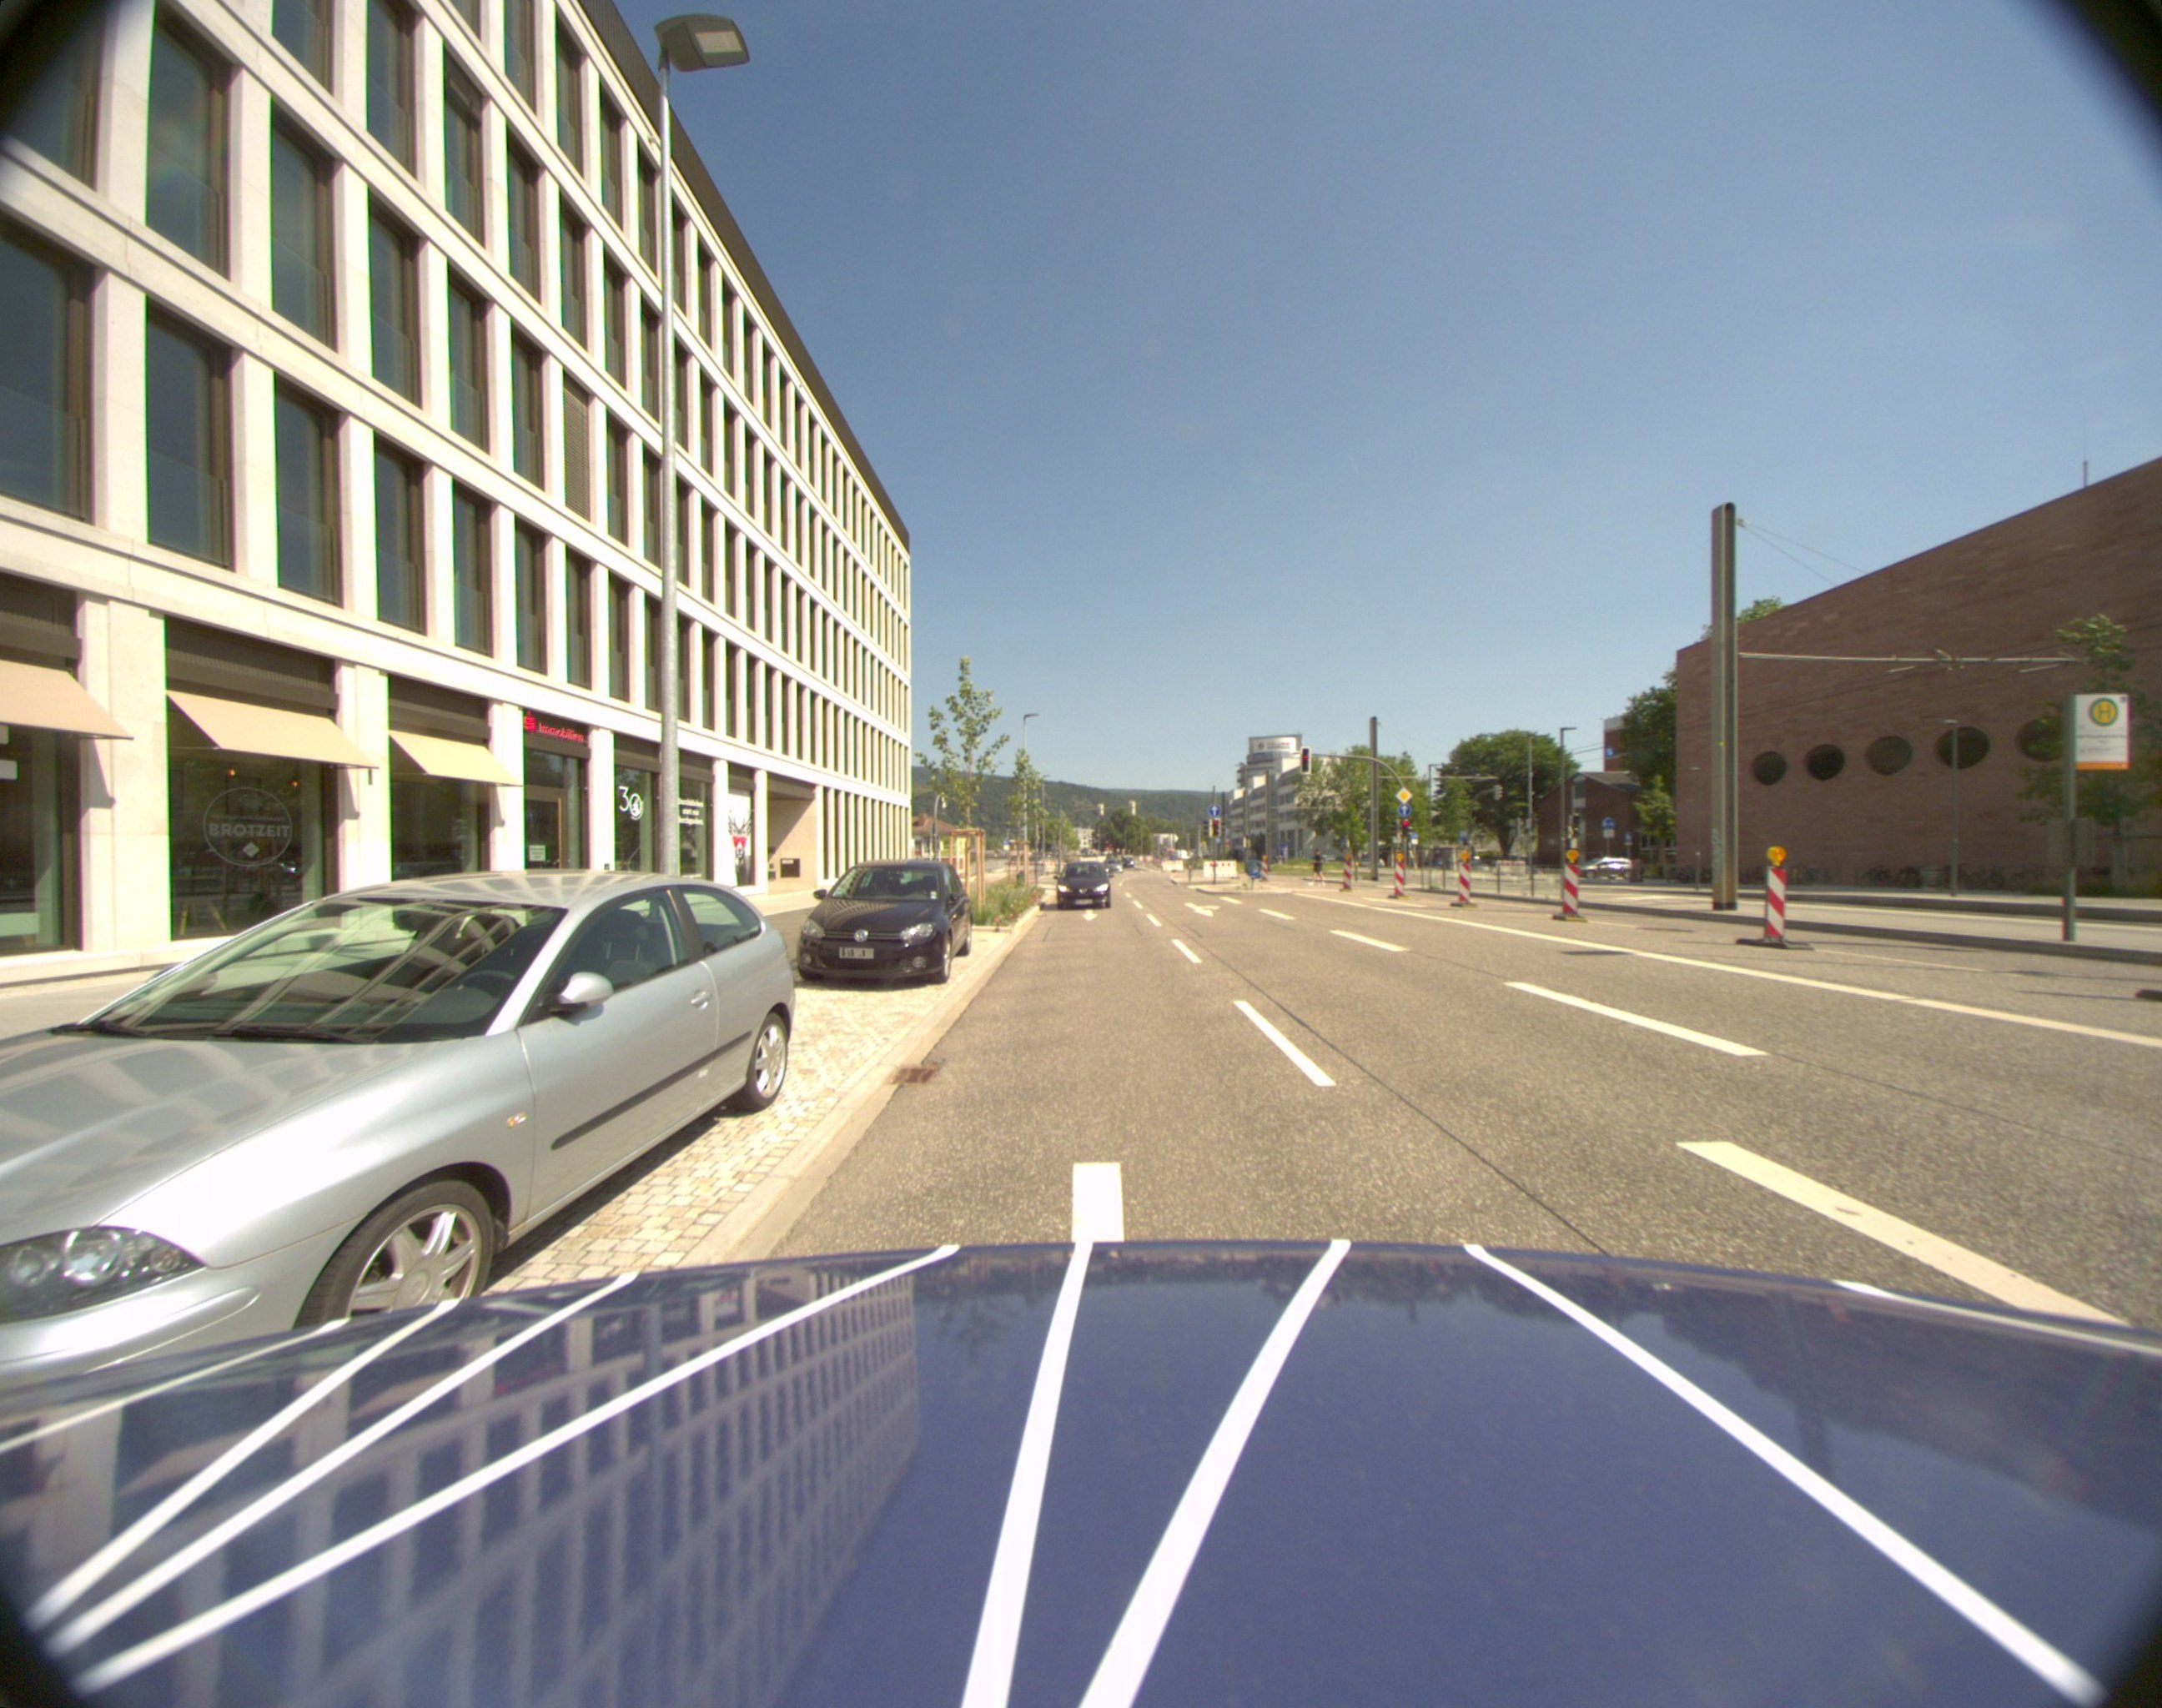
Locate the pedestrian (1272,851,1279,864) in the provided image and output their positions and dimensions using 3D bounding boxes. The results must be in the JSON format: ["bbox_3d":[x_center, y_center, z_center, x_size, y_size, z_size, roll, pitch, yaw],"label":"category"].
[{"bbox_3d":[31.524,0.587,123.085,0.985,2.002,0.910,-2,1,4],"label":"pedestrian"}]

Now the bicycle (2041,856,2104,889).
[{"bbox_3d":[37.250,0.682,28.544,2.058,1.205,0.539,-1,0,-10],"label":"bicycle"}]

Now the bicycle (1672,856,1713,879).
[{"bbox_3d":[34.583,0.760,42.946,2.058,1.205,0.539,-2,-1,-10],"label":"bicycle"}]

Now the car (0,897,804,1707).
[{"bbox_3d":[-2.680,0.991,3.134,1.609,1.379,3.814,1,0,1],"label":"car"}]

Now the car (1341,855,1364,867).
[{"bbox_3d":[39.285,0.965,109.962,1.773,1.581,3.636,-2,0,-4],"label":"car"}]

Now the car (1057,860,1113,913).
[{"bbox_3d":[0.140,0.941,23.641,1.618,1.433,3.706,0,1,1],"label":"car"}]

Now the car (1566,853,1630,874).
[{"bbox_3d":[36.695,0.692,53.996,3.487,1.362,1.573,-1,0,0],"label":"car"}]

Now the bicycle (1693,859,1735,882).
[{"bbox_3d":[34.811,0.906,41.769,2.058,1.205,0.539,-1,0,-10],"label":"bicycle"}]

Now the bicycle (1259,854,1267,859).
[{"bbox_3d":[41.300,0.574,172.706,1.650,1.182,0.438,-2,0,1],"label":"bicycle"}]

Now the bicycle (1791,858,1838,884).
[{"bbox_3d":[35.695,0.805,36.983,2.058,1.205,0.539,-1,0,-10],"label":"bicycle"}]

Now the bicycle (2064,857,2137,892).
[{"bbox_3d":[37.224,0.727,27.750,1.889,1.205,0.746,-1,1,-6],"label":"bicycle"}]

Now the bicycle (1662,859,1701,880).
[{"bbox_3d":[34.525,0.884,43.683,2.058,1.205,0.539,0,1,-10],"label":"bicycle"}]

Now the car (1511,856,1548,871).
[{"bbox_3d":[45.717,0.924,77.476,1.542,1.448,3.788,-1,0,1],"label":"car"}]

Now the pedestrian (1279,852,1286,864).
[{"bbox_3d":[32.673,0.635,123.063,0.841,2.002,0.983,-2,1,4],"label":"pedestrian"}]

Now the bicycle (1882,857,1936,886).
[{"bbox_3d":[36.132,0.771,33.166,2.058,1.205,0.539,-1,0,-10],"label":"bicycle"}]

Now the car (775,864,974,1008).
[{"bbox_3d":[-2.522,0.923,10.247,1.741,1.465,3.979,2,0,-3],"label":"car"}]

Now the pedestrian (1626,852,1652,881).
[{"bbox_3d":[30.880,0.679,42.050,0.934,1.553,0.792,-1,0,-30],"label":"pedestrian"}]

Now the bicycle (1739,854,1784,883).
[{"bbox_3d":[35.031,0.737,39.117,2.058,1.444,0.539,-1,0,-10],"label":"bicycle"}]

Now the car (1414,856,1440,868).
[{"bbox_3d":[49.077,1.103,107.800,1.773,1.581,3.636,-2,0,-4],"label":"car"}]

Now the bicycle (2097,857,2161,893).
[{"bbox_3d":[37.180,0.738,26.927,2.058,1.205,0.539,-1,0,-10],"label":"bicycle"}]

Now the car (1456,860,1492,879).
[{"bbox_3d":[39.763,1.566,76.928,1.702,1.751,3.939,-1,1,1],"label":"car"}]

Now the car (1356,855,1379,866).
[{"bbox_3d":[41.680,0.904,110.601,1.773,1.581,3.636,-2,0,-4],"label":"car"}]

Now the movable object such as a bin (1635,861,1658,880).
[{"bbox_3d":[31.604,0.919,42.465,0.716,1.025,0.792,-1,0,-30],"label":"movable object such as a bin"}]

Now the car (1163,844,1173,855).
[{"bbox_3d":[22.647,-1.186,198.377,2.082,2.724,5.986,1,1,2],"label":"car"}]

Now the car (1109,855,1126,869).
[{"bbox_3d":[3.805,0.802,79.036,1.618,1.433,3.768,0,0,0],"label":"car"}]

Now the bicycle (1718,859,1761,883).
[{"bbox_3d":[34.991,0.912,40.387,2.058,1.205,0.539,-1,0,-11],"label":"bicycle"}]

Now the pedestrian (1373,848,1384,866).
[{"bbox_3d":[31.850,0.302,81.330,0.813,1.836,1.108,-1,1,7],"label":"pedestrian"}]

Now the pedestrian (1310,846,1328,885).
[{"bbox_3d":[11.322,0.566,36.158,0.654,1.823,0.661,-2,0,5],"label":"pedestrian"}]

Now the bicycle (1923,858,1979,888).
[{"bbox_3d":[36.495,0.782,31.884,2.058,1.205,0.539,-1,0,-10],"label":"bicycle"}]

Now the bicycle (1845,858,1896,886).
[{"bbox_3d":[35.939,0.797,34.599,2.058,1.205,0.539,-1,1,-10],"label":"bicycle"}]

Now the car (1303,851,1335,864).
[{"bbox_3d":[41.214,0.664,131.623,5.063,2.167,2.117,-1,1,28],"label":"car"}]
